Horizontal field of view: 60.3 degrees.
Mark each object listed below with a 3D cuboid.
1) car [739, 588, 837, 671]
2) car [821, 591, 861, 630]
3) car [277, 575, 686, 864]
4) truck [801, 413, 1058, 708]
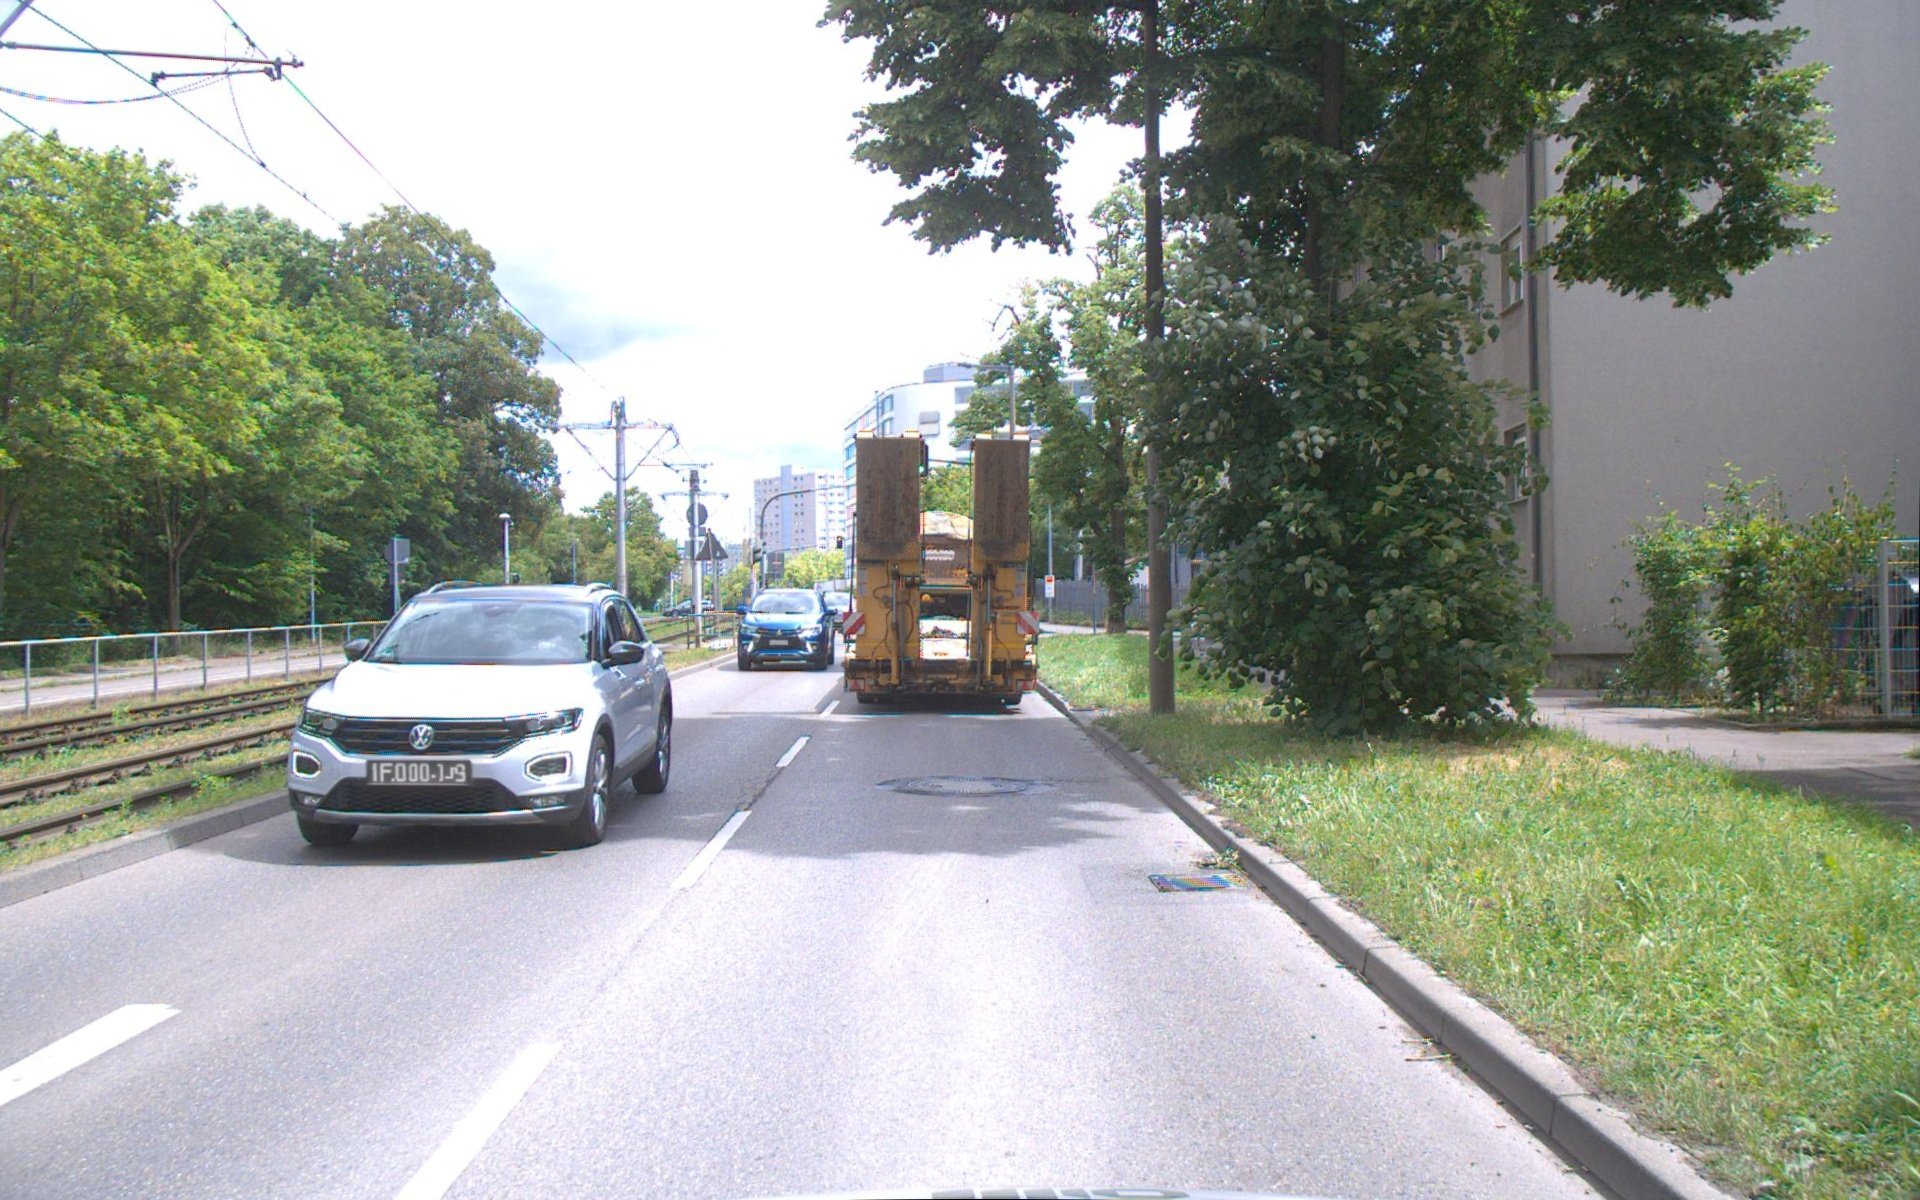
[{"bbox_3d":[-3.474,0.558,33.983,1.678,1.594,4.165,1,0,-2],"label":"car"},{"bbox_3d":[-5.302,0.470,74.096,1.673,1.705,4.225,1,0,-3],"label":"car"},{"bbox_3d":[-2.943,0.636,11.042,1.682,1.571,3.999,1,1,-2],"label":"car"},{"bbox_3d":[-0.657,-0.411,27.139,3.250,3.715,12.554,0,-1,-3],"label":"truck"}]
